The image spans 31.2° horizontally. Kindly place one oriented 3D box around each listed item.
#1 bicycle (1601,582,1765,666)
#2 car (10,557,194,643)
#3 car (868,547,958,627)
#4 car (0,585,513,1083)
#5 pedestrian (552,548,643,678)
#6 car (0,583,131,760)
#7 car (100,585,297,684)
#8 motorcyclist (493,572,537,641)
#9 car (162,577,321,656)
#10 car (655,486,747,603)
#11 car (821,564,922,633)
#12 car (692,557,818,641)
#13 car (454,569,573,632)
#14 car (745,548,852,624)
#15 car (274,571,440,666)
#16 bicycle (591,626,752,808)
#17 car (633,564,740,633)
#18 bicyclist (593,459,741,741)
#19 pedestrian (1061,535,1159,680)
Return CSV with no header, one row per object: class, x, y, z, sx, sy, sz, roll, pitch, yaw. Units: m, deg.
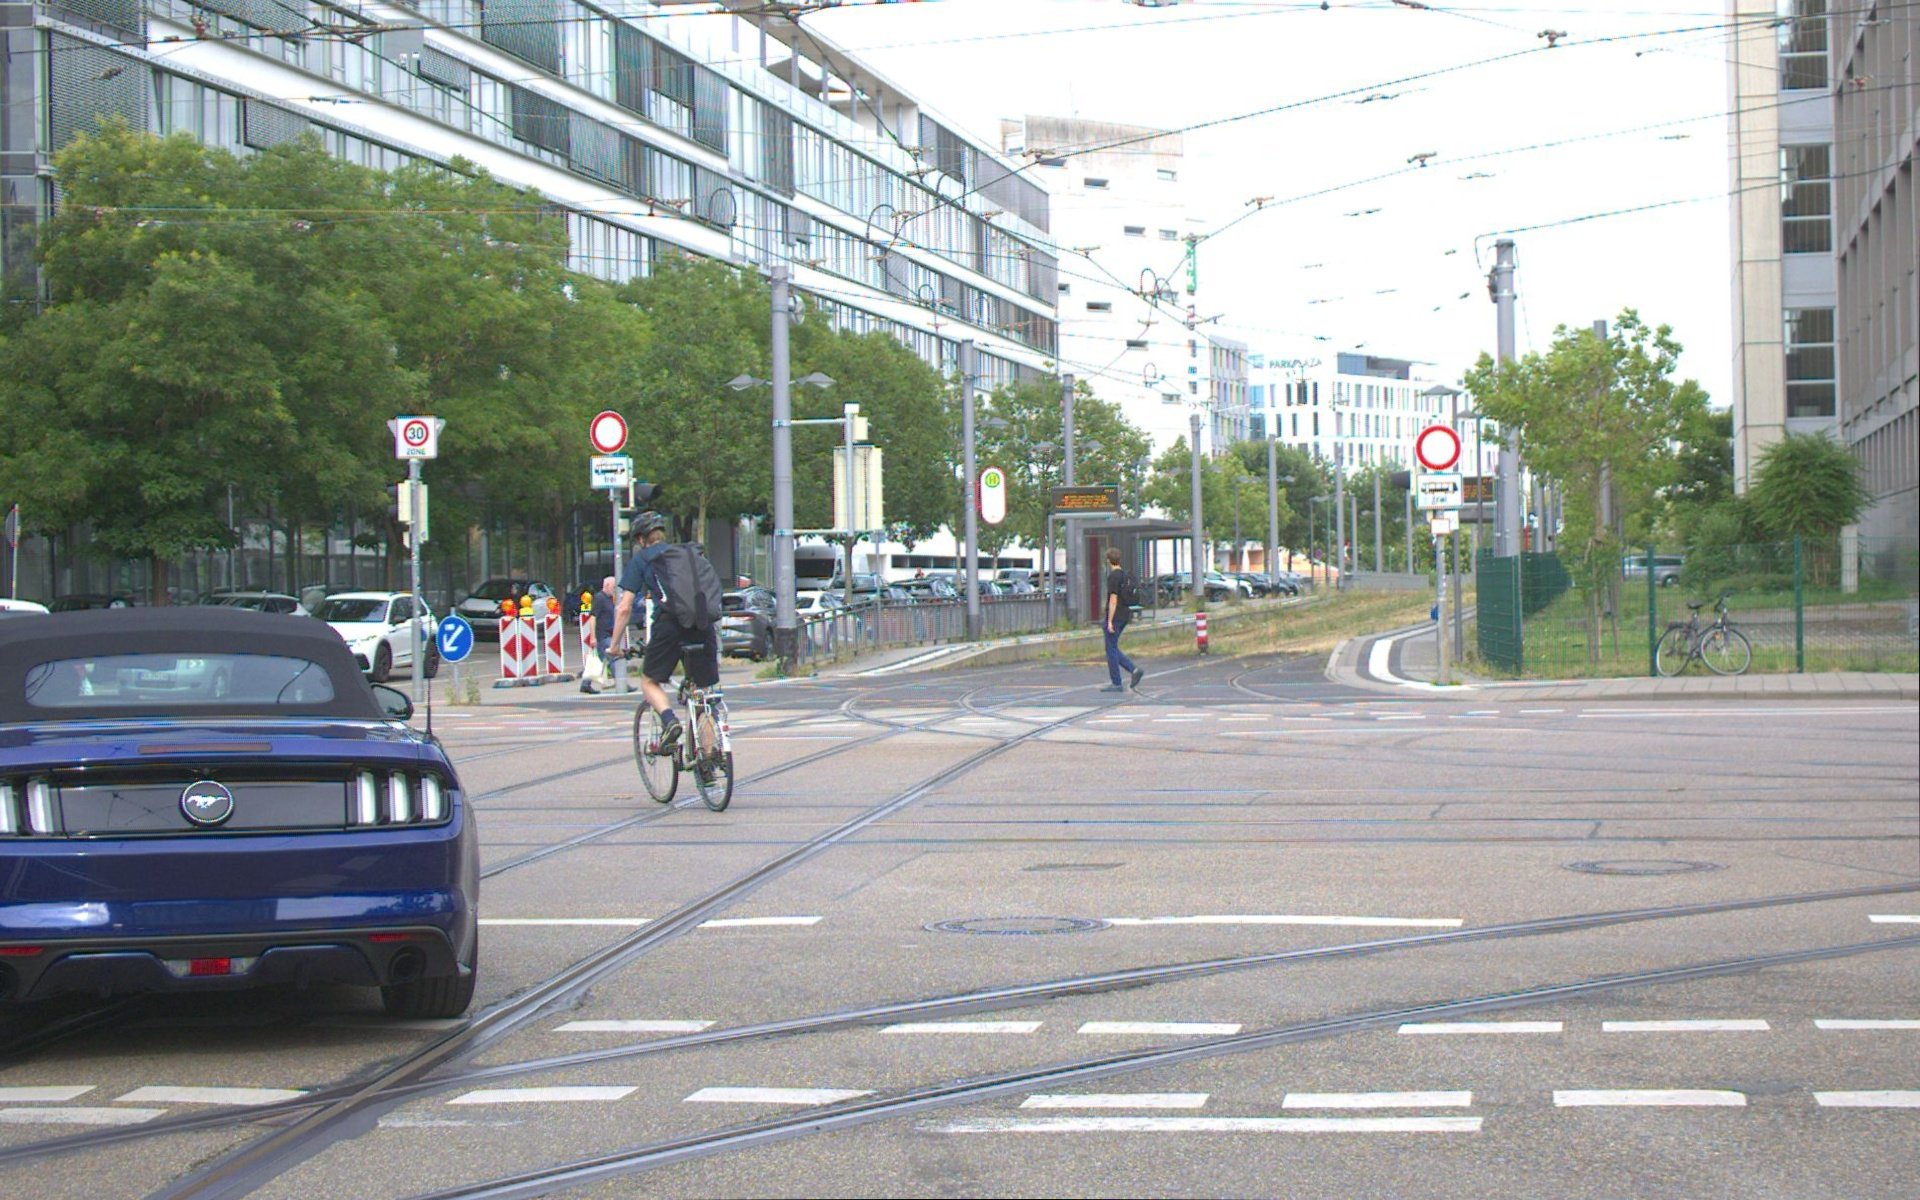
bicycle,9.234,0.312,43.968,0.632,0.977,2.158,-1,-2,-35
car,-16.343,-0.030,65.677,1.830,1.551,4.215,1,1,10
car,-1.193,-0.353,88.507,1.785,1.980,4.120,-1,1,6
car,-2.899,0.673,12.199,1.875,1.399,4.283,0,1,-18
pedestrian,-5.257,0.185,49.889,0.990,1.849,0.901,-1,0,19
car,-8.926,0.604,30.132,1.835,1.434,4.187,-2,1,-34
car,-12.518,0.539,56.779,1.668,1.501,4.233,1,1,10
motorcyclist,-10.624,0.150,82.117,0.820,1.611,0.882,0,1,11
car,-15.101,0.316,72.485,1.830,1.551,4.215,1,1,10
car,-8.199,-1.767,109.109,1.987,3.624,4.511,1,1,8
car,-2.132,-0.053,83.649,1.868,1.600,4.212,-1,1,6
car,-4.146,-0.044,70.161,1.880,1.623,4.086,-1,1,6
car,-11.712,-0.020,90.395,1.987,1.551,4.511,1,1,8
car,-3.535,-0.332,75.923,1.705,1.600,4.078,-1,1,6
car,-11.213,0.312,64.202,1.715,1.654,4.131,1,1,10
bicycle,-1.917,0.737,22.565,0.800,1.083,2.132,-1,1,-11
car,-6.974,-0.060,88.102,1.715,1.654,4.131,1,1,10
bicyclist,-1.929,-0.007,22.514,0.796,1.779,1.233,-1,1,-11
pedestrian,2.008,0.097,45.889,1.086,1.892,0.901,-1,0,16
